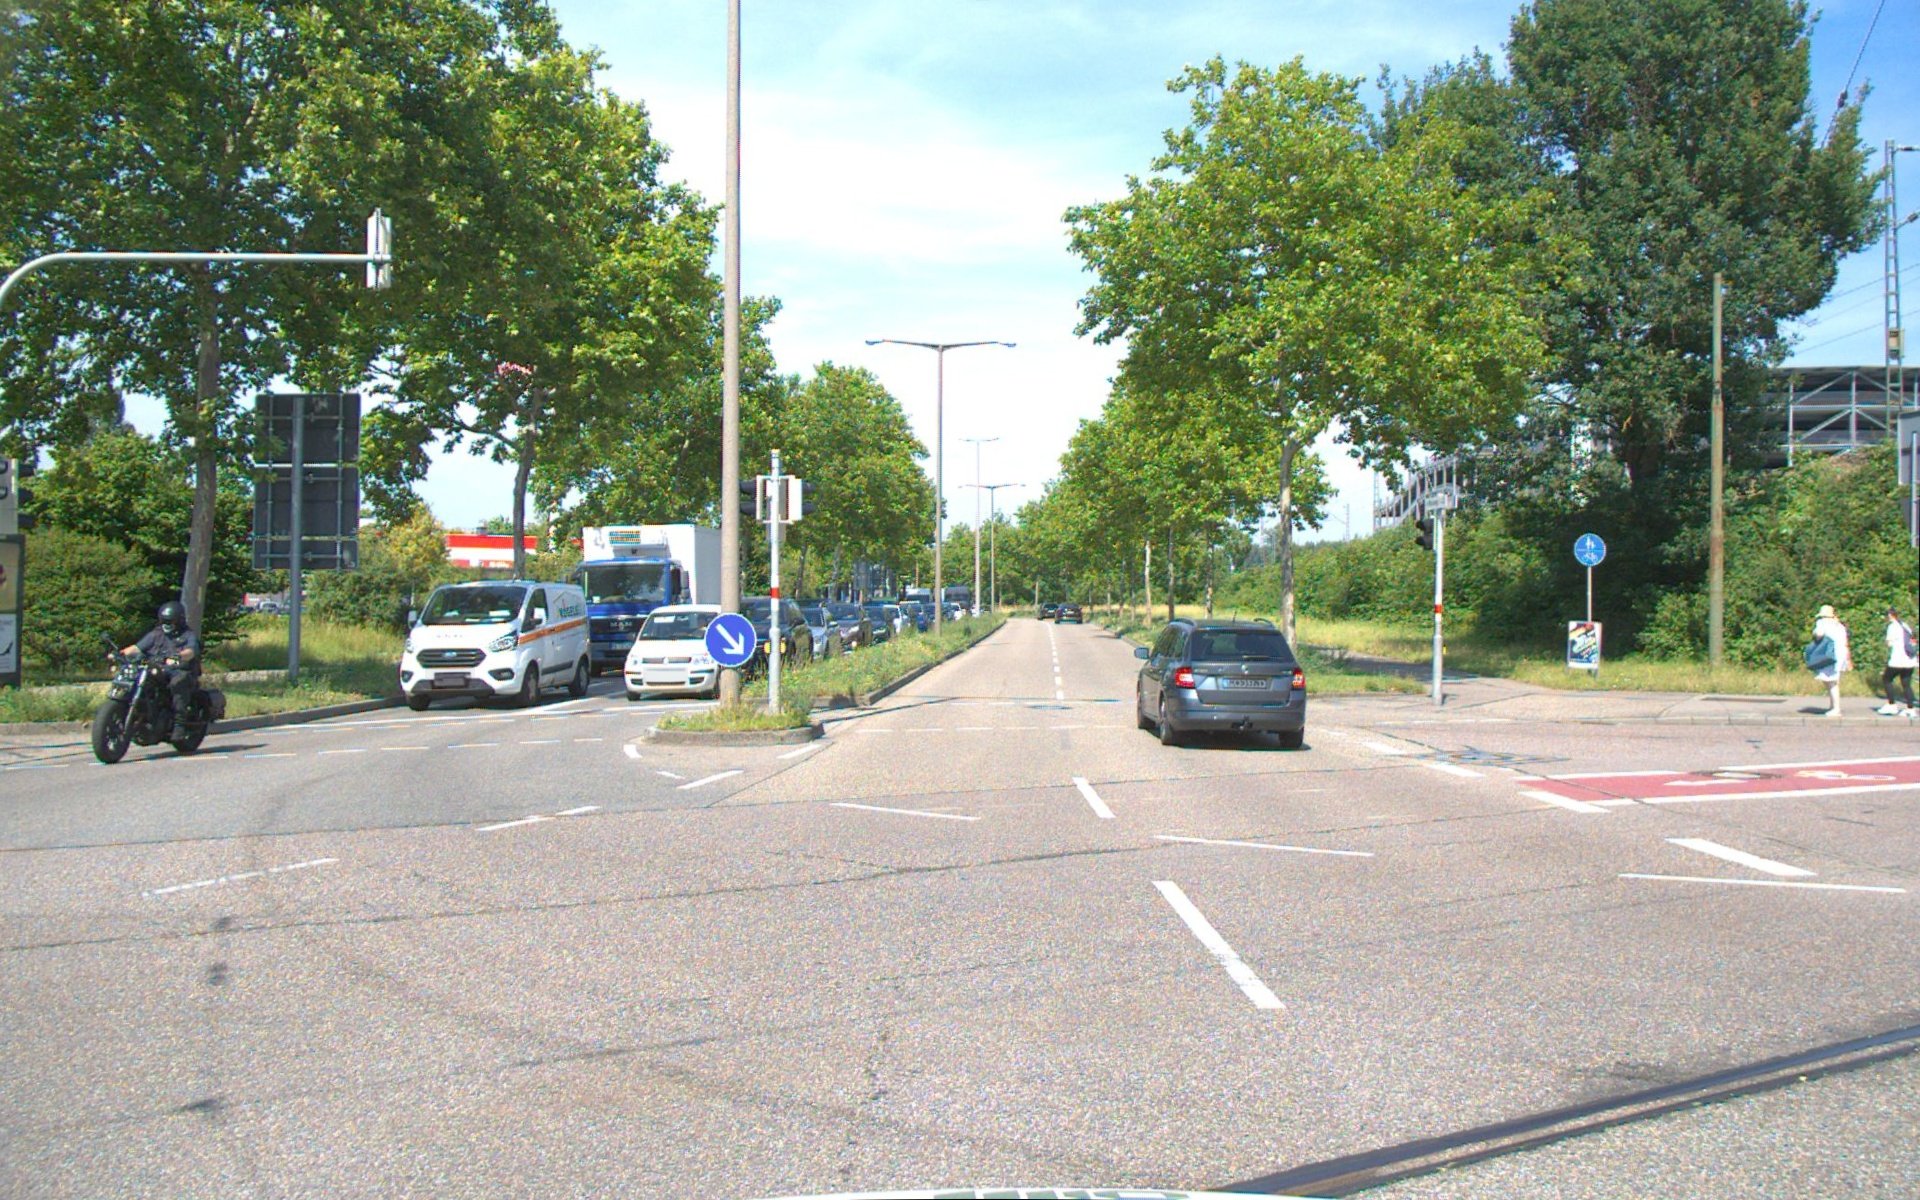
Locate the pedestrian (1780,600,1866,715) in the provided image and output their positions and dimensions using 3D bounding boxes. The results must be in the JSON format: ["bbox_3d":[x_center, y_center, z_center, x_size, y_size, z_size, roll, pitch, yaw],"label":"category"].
[{"bbox_3d":[12.607,0.823,24.183,0.850,1.640,0.778,1,0,2],"label":"pedestrian"}]

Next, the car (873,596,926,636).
[{"bbox_3d":[-2.438,0.625,67.751,1.721,1.557,4.830,-1,0,3],"label":"car"}]

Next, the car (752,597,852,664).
[{"bbox_3d":[-3.808,0.705,40.607,1.759,1.493,4.525,-1,0,3],"label":"car"}]

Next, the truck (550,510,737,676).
[{"bbox_3d":[-7.298,-0.193,39.121,2.745,3.532,6.694,-1,1,3],"label":"truck"}]

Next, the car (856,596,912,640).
[{"bbox_3d":[-2.745,0.631,60.265,1.653,1.497,3.816,-1,0,3],"label":"car"}]

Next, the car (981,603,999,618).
[{"bbox_3d":[3.367,1.187,183.969,1.869,1.488,4.582,1,1,0],"label":"car"}]

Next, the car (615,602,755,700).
[{"bbox_3d":[-4.594,0.811,28.060,1.559,1.503,3.731,-1,0,3],"label":"car"}]

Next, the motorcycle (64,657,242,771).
[{"bbox_3d":[-8.356,1.146,17.246,0.673,1.008,2.218,0,0,3],"label":"motorcycle"}]

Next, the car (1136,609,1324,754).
[{"bbox_3d":[3.175,0.903,20.144,1.640,1.478,4.036,2,1,1],"label":"car"}]

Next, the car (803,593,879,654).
[{"bbox_3d":[-3.357,0.634,47.421,1.653,1.614,4.242,-1,0,3],"label":"car"}]

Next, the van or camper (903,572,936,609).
[{"bbox_3d":[-2.964,-0.726,121.716,1.973,2.633,5.519,-1,0,3],"label":"van or camper"}]

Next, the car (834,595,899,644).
[{"bbox_3d":[-3.045,0.624,54.675,1.653,1.499,4.220,-2,0,3],"label":"car"}]

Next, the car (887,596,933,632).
[{"bbox_3d":[-2.184,0.584,72.954,1.747,1.515,4.212,-1,0,2],"label":"car"}]

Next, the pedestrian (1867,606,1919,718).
[{"bbox_3d":[13.861,0.902,24.246,0.714,1.607,0.778,1,0,2],"label":"pedestrian"}]

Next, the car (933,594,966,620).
[{"bbox_3d":[-0.627,0.411,100.498,1.746,1.484,4.474,0,0,3],"label":"car"}]

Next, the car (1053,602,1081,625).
[{"bbox_3d":[7.345,0.908,113.633,1.868,1.488,4.624,1,1,3],"label":"car"}]

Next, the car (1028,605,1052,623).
[{"bbox_3d":[6.952,1.199,144.458,1.869,1.488,4.582,1,1,0],"label":"car"}]

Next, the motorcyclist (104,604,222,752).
[{"bbox_3d":[-8.354,0.795,17.372,0.727,1.496,0.988,0,0,3],"label":"motorcyclist"}]

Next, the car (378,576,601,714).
[{"bbox_3d":[-7.562,0.645,27.151,1.935,2.034,5.034,0,0,4],"label":"car"}]

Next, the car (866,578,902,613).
[{"bbox_3d":[-4.282,-0.249,94.179,1.653,1.891,4.038,-1,0,3],"label":"car"}]

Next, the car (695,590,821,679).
[{"bbox_3d":[-4.050,0.684,33.911,1.782,1.675,4.695,-1,-1,3],"label":"car"}]
